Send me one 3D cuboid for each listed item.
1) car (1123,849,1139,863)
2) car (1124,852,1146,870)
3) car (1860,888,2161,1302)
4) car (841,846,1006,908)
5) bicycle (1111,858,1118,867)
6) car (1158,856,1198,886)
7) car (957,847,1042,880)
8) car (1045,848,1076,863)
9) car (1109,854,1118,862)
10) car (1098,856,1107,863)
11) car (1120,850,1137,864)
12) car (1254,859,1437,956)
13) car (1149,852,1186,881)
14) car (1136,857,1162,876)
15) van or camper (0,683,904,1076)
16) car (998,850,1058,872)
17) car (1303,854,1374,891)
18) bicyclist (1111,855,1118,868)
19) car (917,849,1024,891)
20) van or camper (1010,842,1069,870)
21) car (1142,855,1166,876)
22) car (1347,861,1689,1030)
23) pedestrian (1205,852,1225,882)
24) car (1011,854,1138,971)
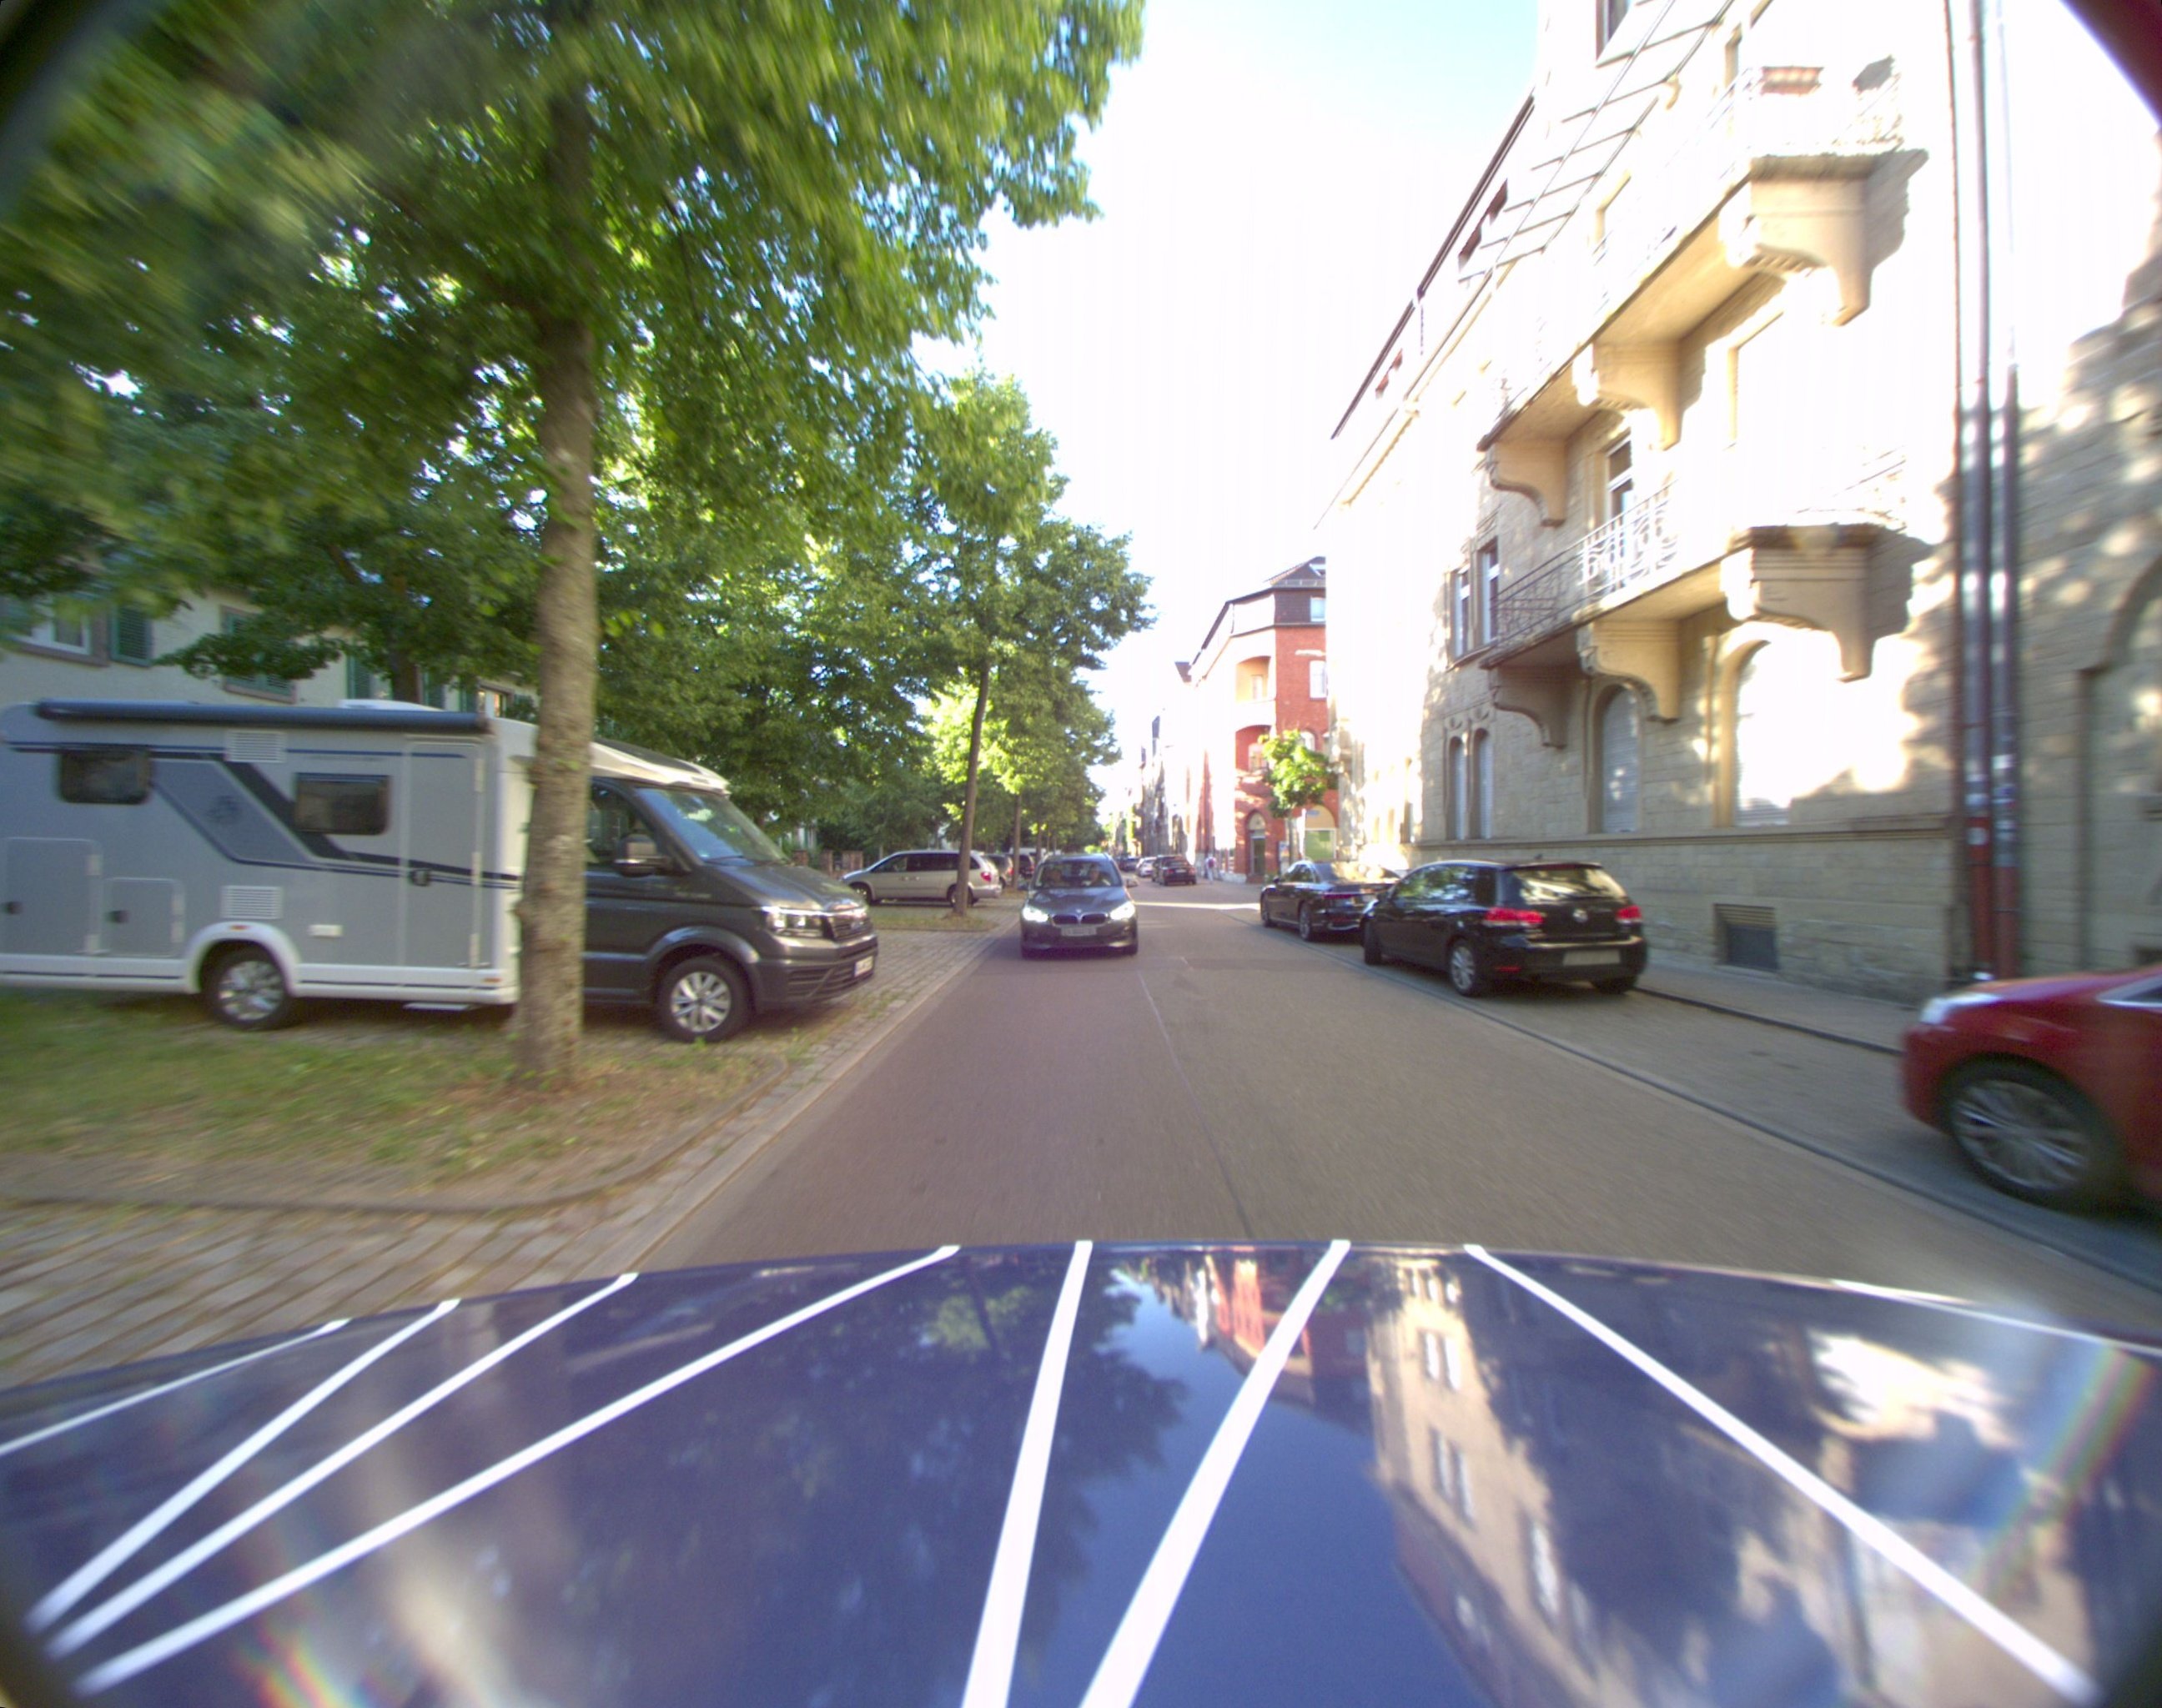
[{"bbox_3d":[6.277,0.263,96.324,1.774,1.658,4.212,-1,1,0],"label":"car"},{"bbox_3d":[5.491,0.694,77.870,1.881,1.707,4.339,-1,0,1],"label":"car"},{"bbox_3d":[4.821,0.909,1.947,1.633,1.445,3.837,-2,0,-2],"label":"car"},{"bbox_3d":[-4.760,0.685,23.441,4.630,1.699,1.833,2,0,2],"label":"car"},{"bbox_3d":[4.104,1.015,92.875,0.759,1.101,1.907,0,1,0],"label":"bicycle"},{"bbox_3d":[5.224,0.872,41.282,1.640,1.402,4.333,-3,1,1],"label":"car"},{"bbox_3d":[-4.703,0.556,44.373,4.592,1.667,1.907,3,0,2],"label":"car"},{"bbox_3d":[-3.728,0.199,137.715,5.448,2.646,2.134,0,0,1],"label":"car"},{"bbox_3d":[6.924,0.788,162.640,1.710,1.496,3.629,-4,-1,2],"label":"car"},{"bbox_3d":[4.391,1.116,154.591,1.631,1.469,3.759,1,0,-1],"label":"car"},{"bbox_3d":[5.551,0.372,89.553,1.774,1.493,4.211,0,1,0],"label":"car"},{"bbox_3d":[4.855,0.882,14.770,1.816,1.418,4.897,-3,1,0],"label":"car"},{"bbox_3d":[5.337,0.748,47.094,1.673,1.671,4.349,-1,1,-1],"label":"car"},{"bbox_3d":[5.499,0.980,61.896,1.681,1.434,4.111,-2,0,-1],"label":"car"},{"bbox_3d":[-5.557,0.140,6.926,7.163,2.631,2.465,3,0,2],"label":"van or camper"},{"bbox_3d":[-4.403,0.579,63.403,4.850,1.530,1.894,3,0,-1],"label":"car"},{"bbox_3d":[11.458,0.776,34.124,1.640,1.460,4.657,-1,1,1],"label":"car"},{"bbox_3d":[4.101,0.912,92.788,0.761,1.445,0.948,0,1,0],"label":"bicyclist"},{"bbox_3d":[-4.850,0.703,33.889,4.552,1.624,1.811,3,0,-5],"label":"car"},{"bbox_3d":[-4.181,0.176,76.976,5.734,2.502,2.162,3,0,0],"label":"van or camper"},{"bbox_3d":[5.382,0.823,56.392,1.570,1.461,3.592,-1,0,2],"label":"car"},{"bbox_3d":[4.741,0.863,9.023,1.700,1.445,4.026,-1,1,-1],"label":"car"},{"bbox_3d":[7.098,0.683,40.346,0.890,1.568,1.053,-1,2,1],"label":"pedestrian"},{"bbox_3d":[-0.042,0.853,13.142,1.753,1.596,4.551,-3,0,1],"label":"car"}]
